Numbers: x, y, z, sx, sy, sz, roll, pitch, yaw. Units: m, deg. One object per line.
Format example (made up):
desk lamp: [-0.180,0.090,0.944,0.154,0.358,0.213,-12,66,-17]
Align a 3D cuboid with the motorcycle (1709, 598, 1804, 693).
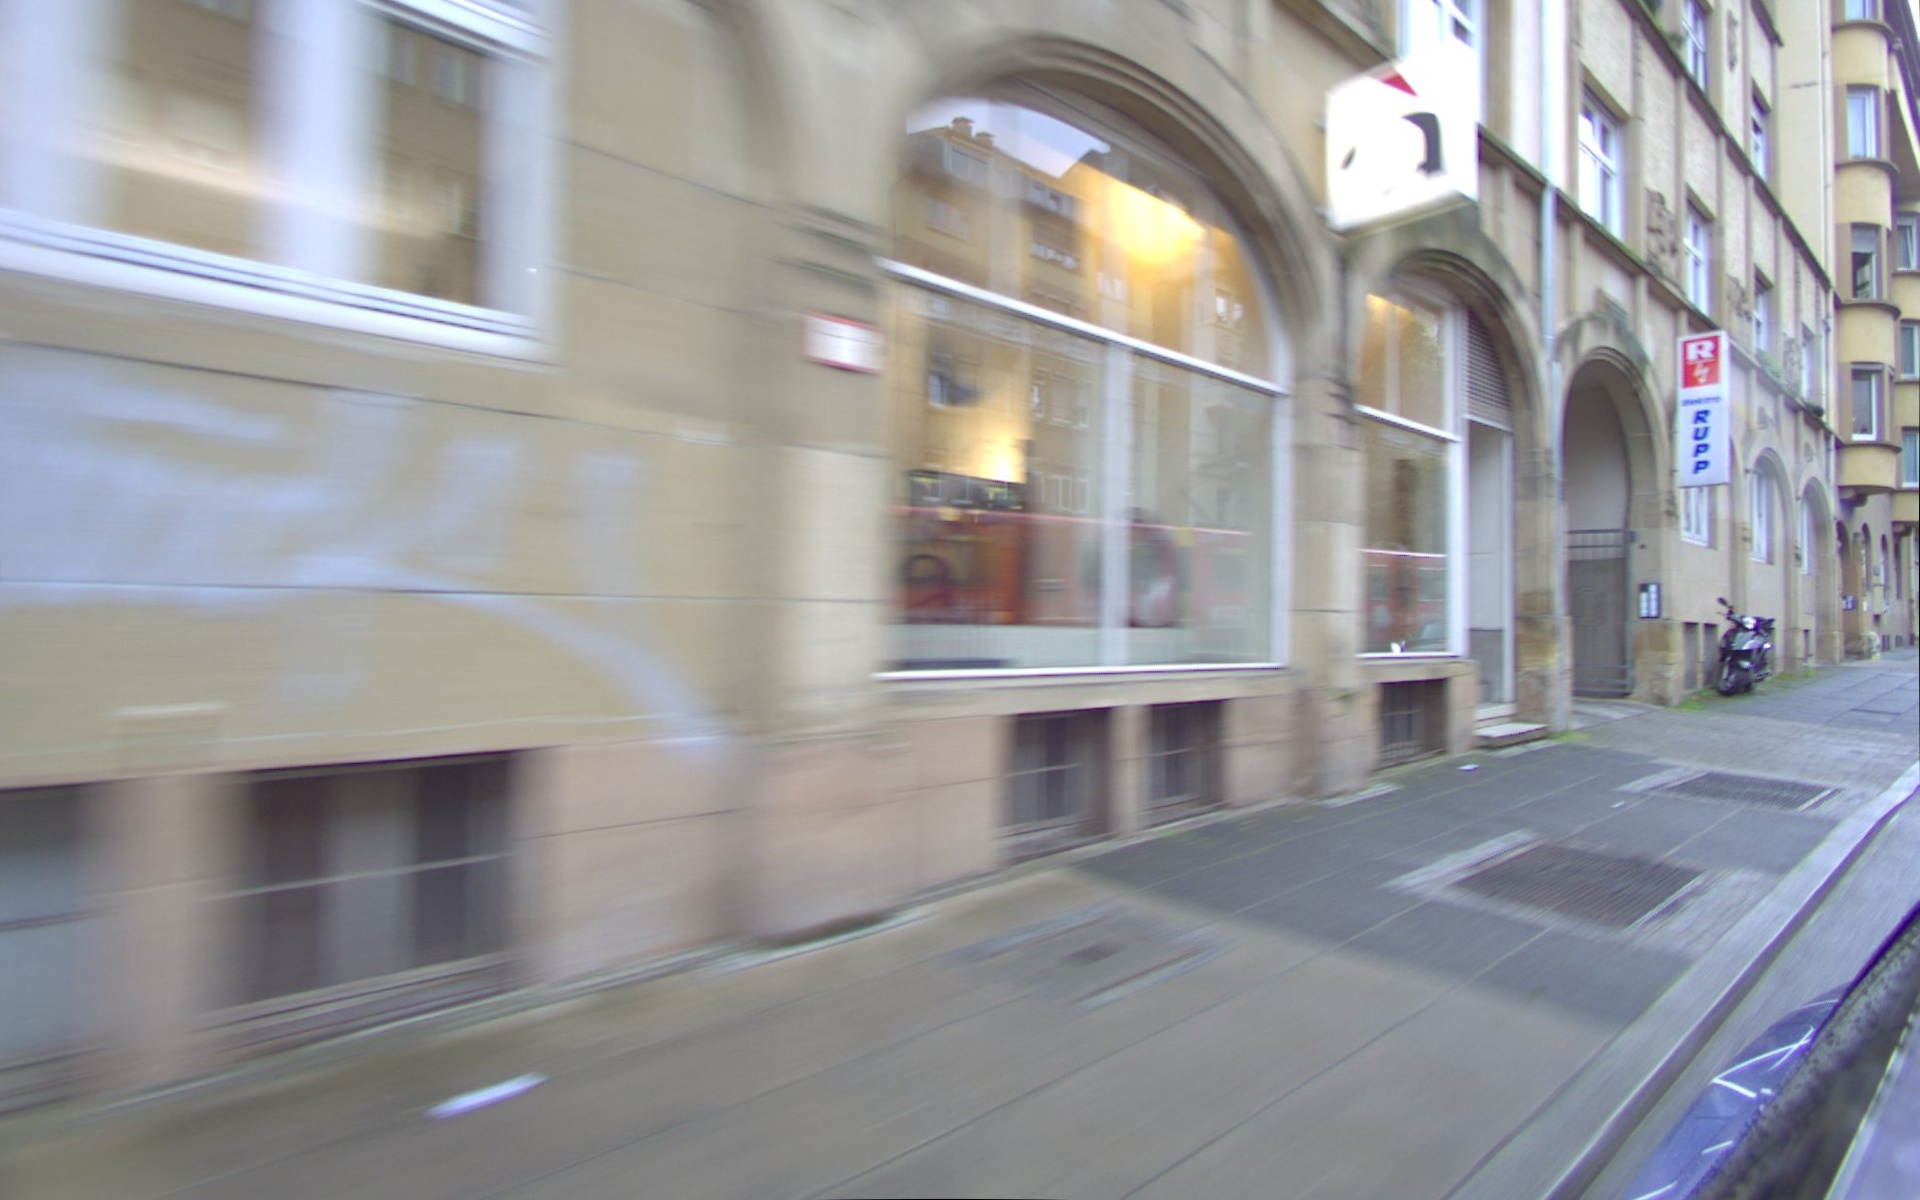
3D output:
motorcycle: [11.644,0.634,14.773,1.748,1.252,0.692,0,5,-41]
